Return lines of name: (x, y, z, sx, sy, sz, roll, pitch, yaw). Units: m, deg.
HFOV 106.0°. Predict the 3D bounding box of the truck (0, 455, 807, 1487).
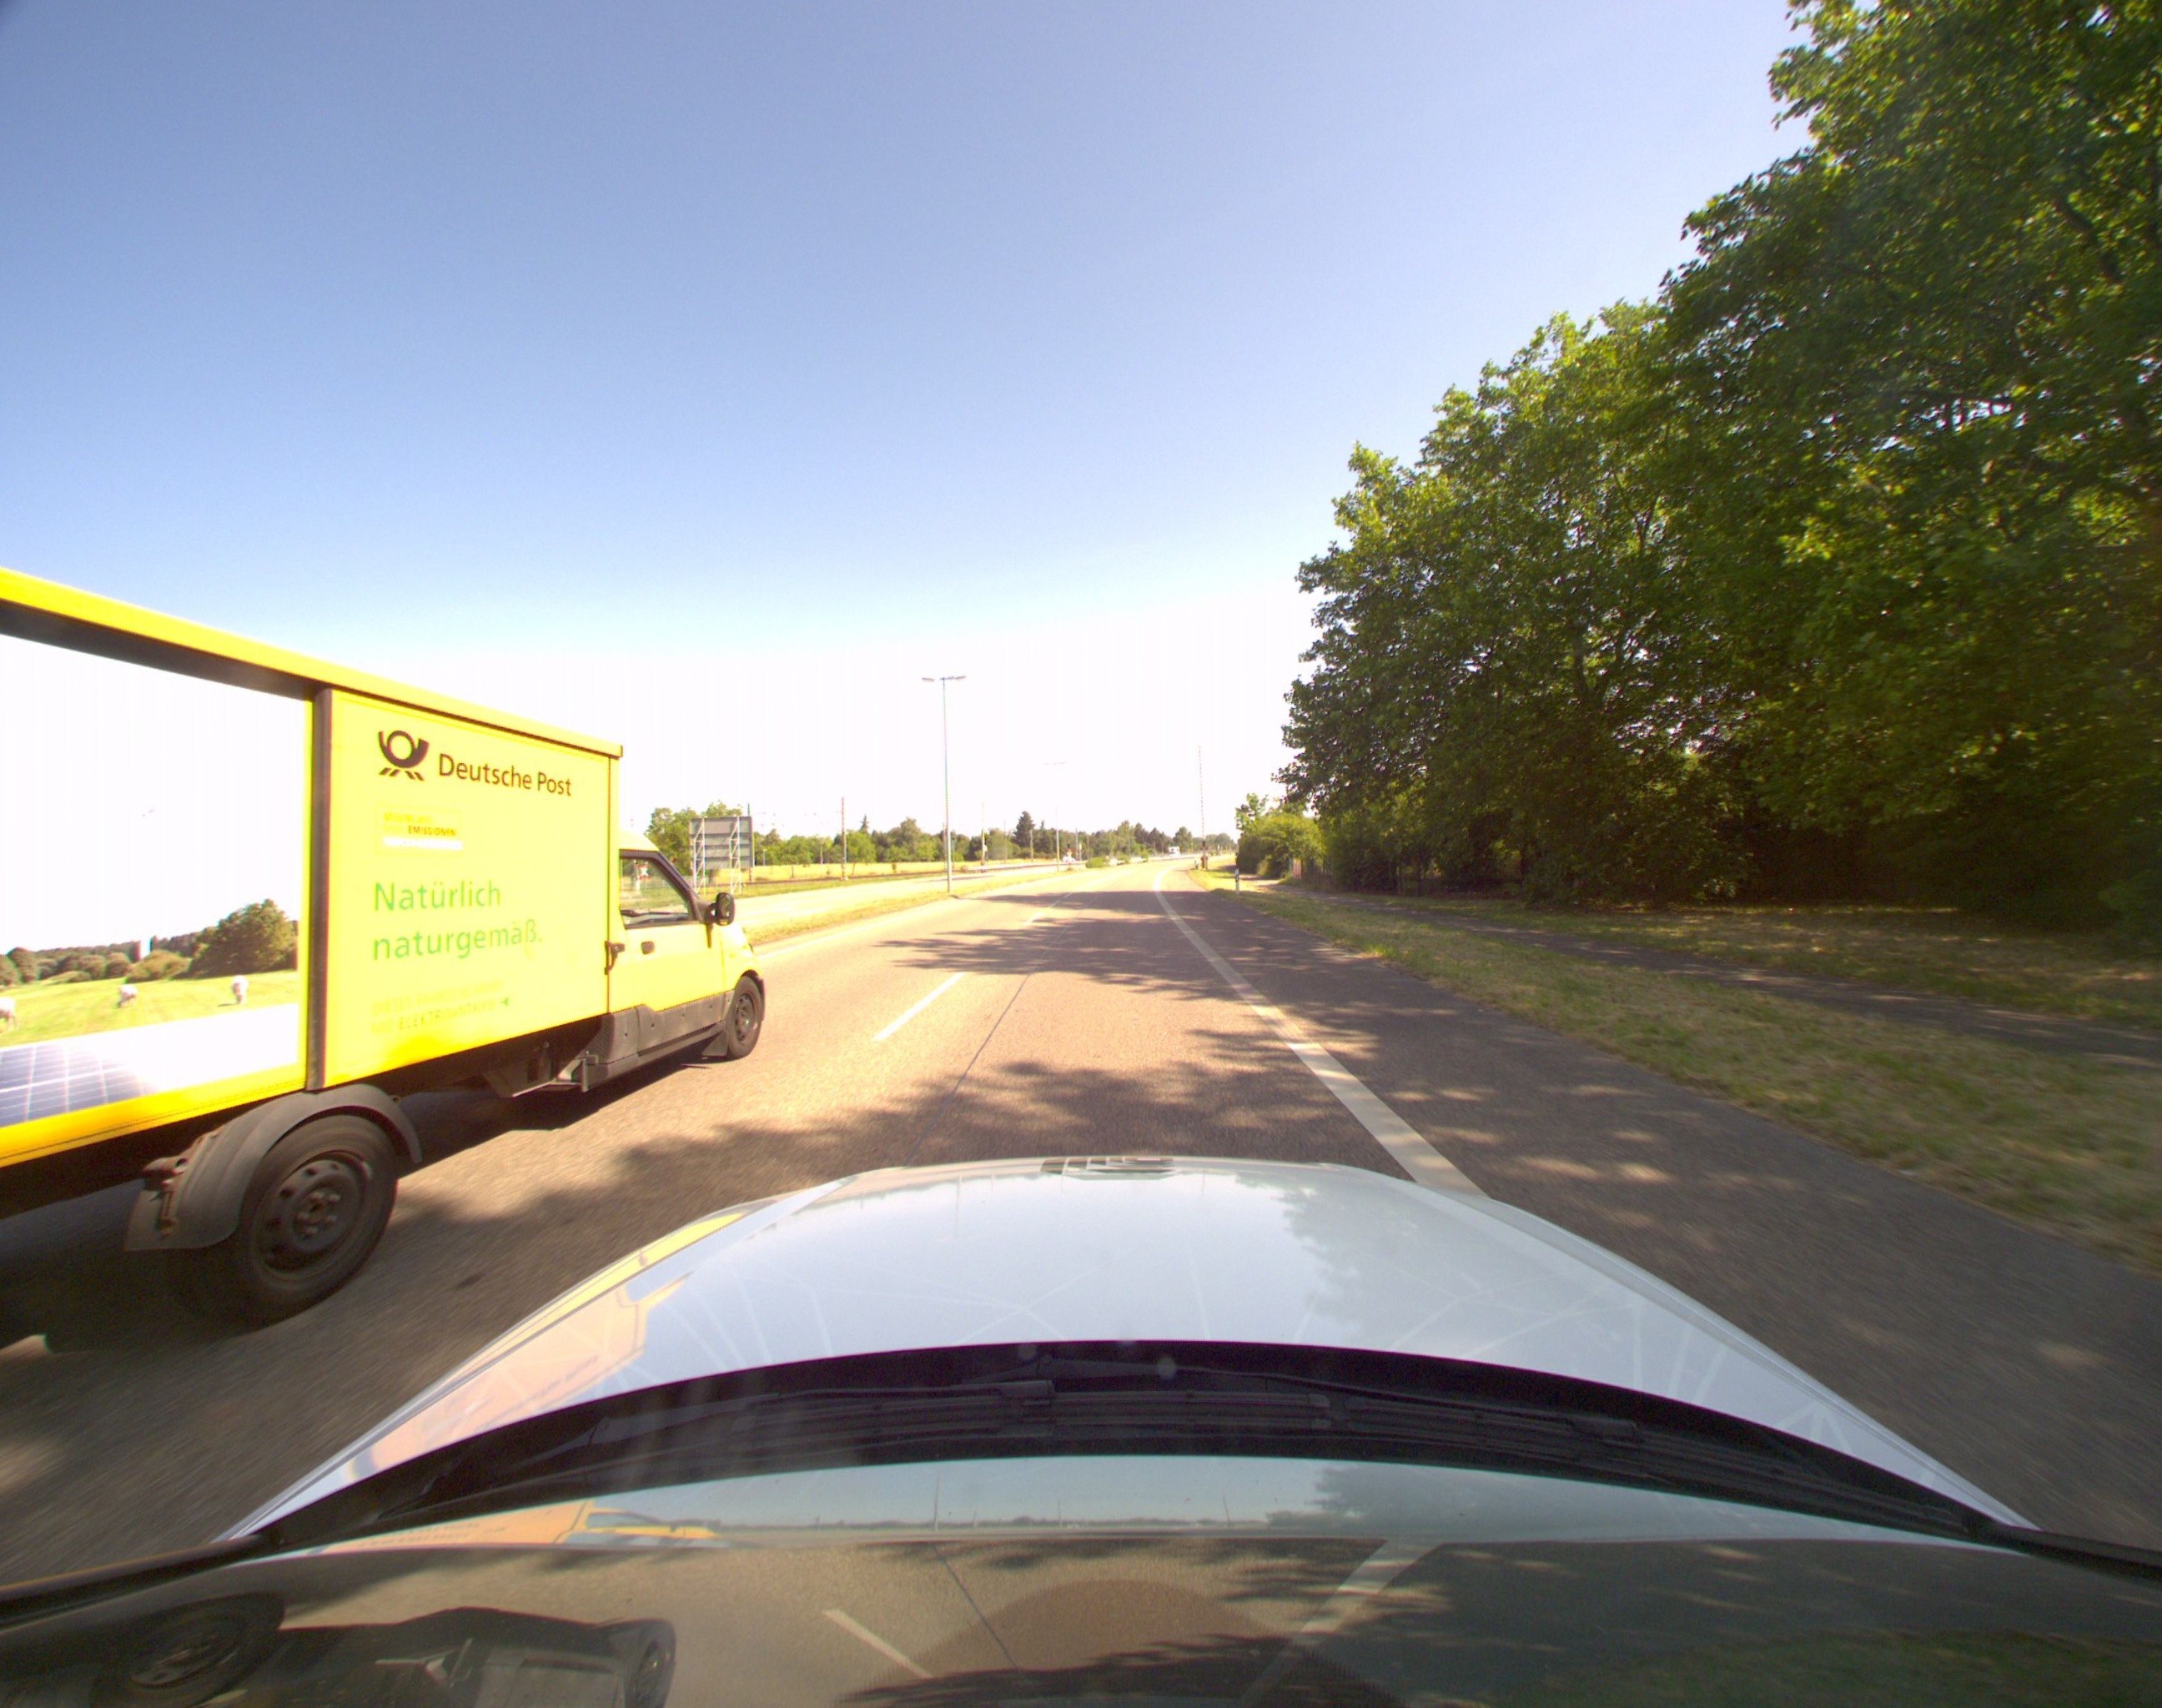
truck: (-3.549, 0.289, 4.106, 2.103, 2.457, 5.920, -1, 0, 2)
